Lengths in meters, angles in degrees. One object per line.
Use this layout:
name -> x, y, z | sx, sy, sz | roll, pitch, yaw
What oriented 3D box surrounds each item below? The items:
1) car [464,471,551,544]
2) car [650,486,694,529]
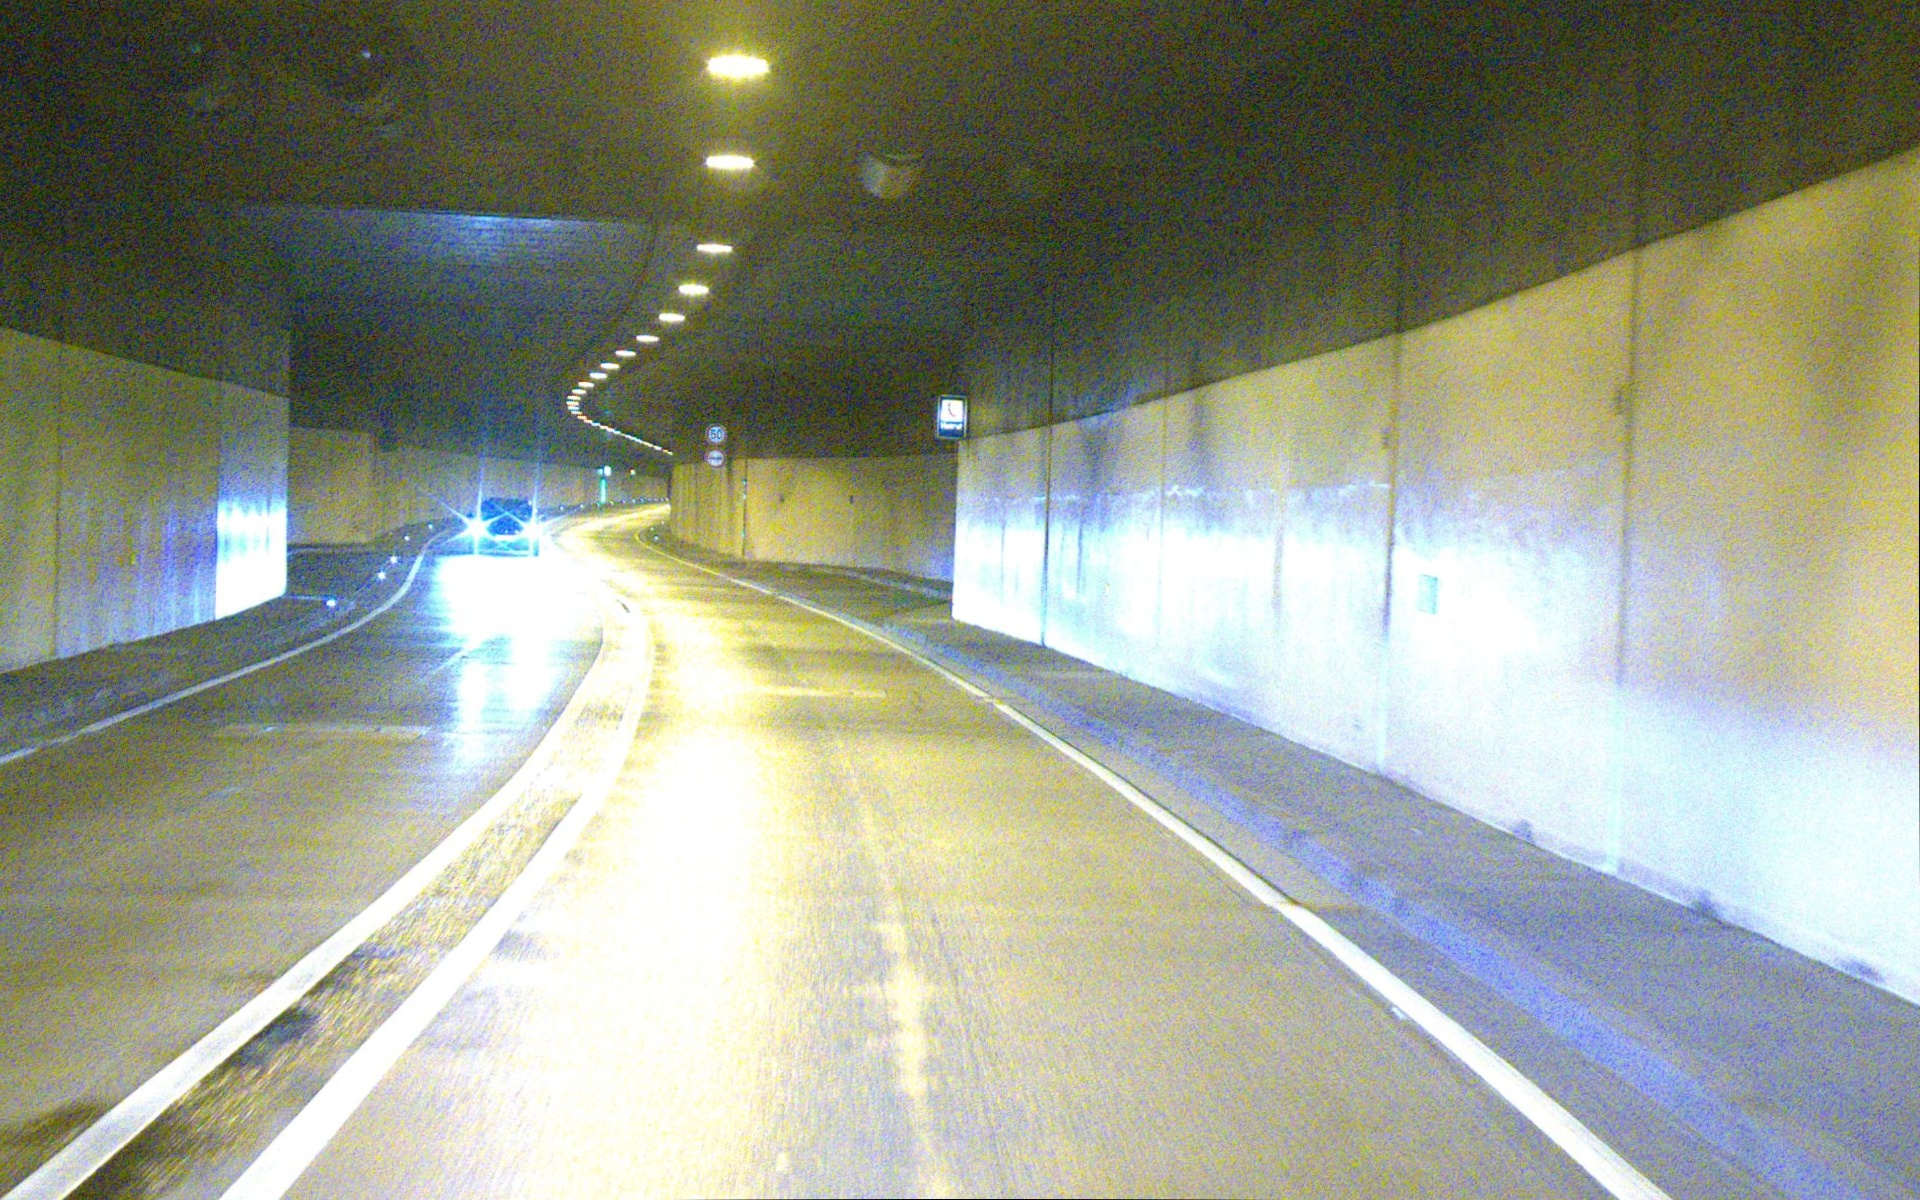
car -> -11.492, -2.321, 87.458 | 1.993, 1.590, 4.001 | 4, -1, -6
car -> -11.316, -3.633, 134.867 | 1.595, 1.450, 3.621 | 4, -1, -6
